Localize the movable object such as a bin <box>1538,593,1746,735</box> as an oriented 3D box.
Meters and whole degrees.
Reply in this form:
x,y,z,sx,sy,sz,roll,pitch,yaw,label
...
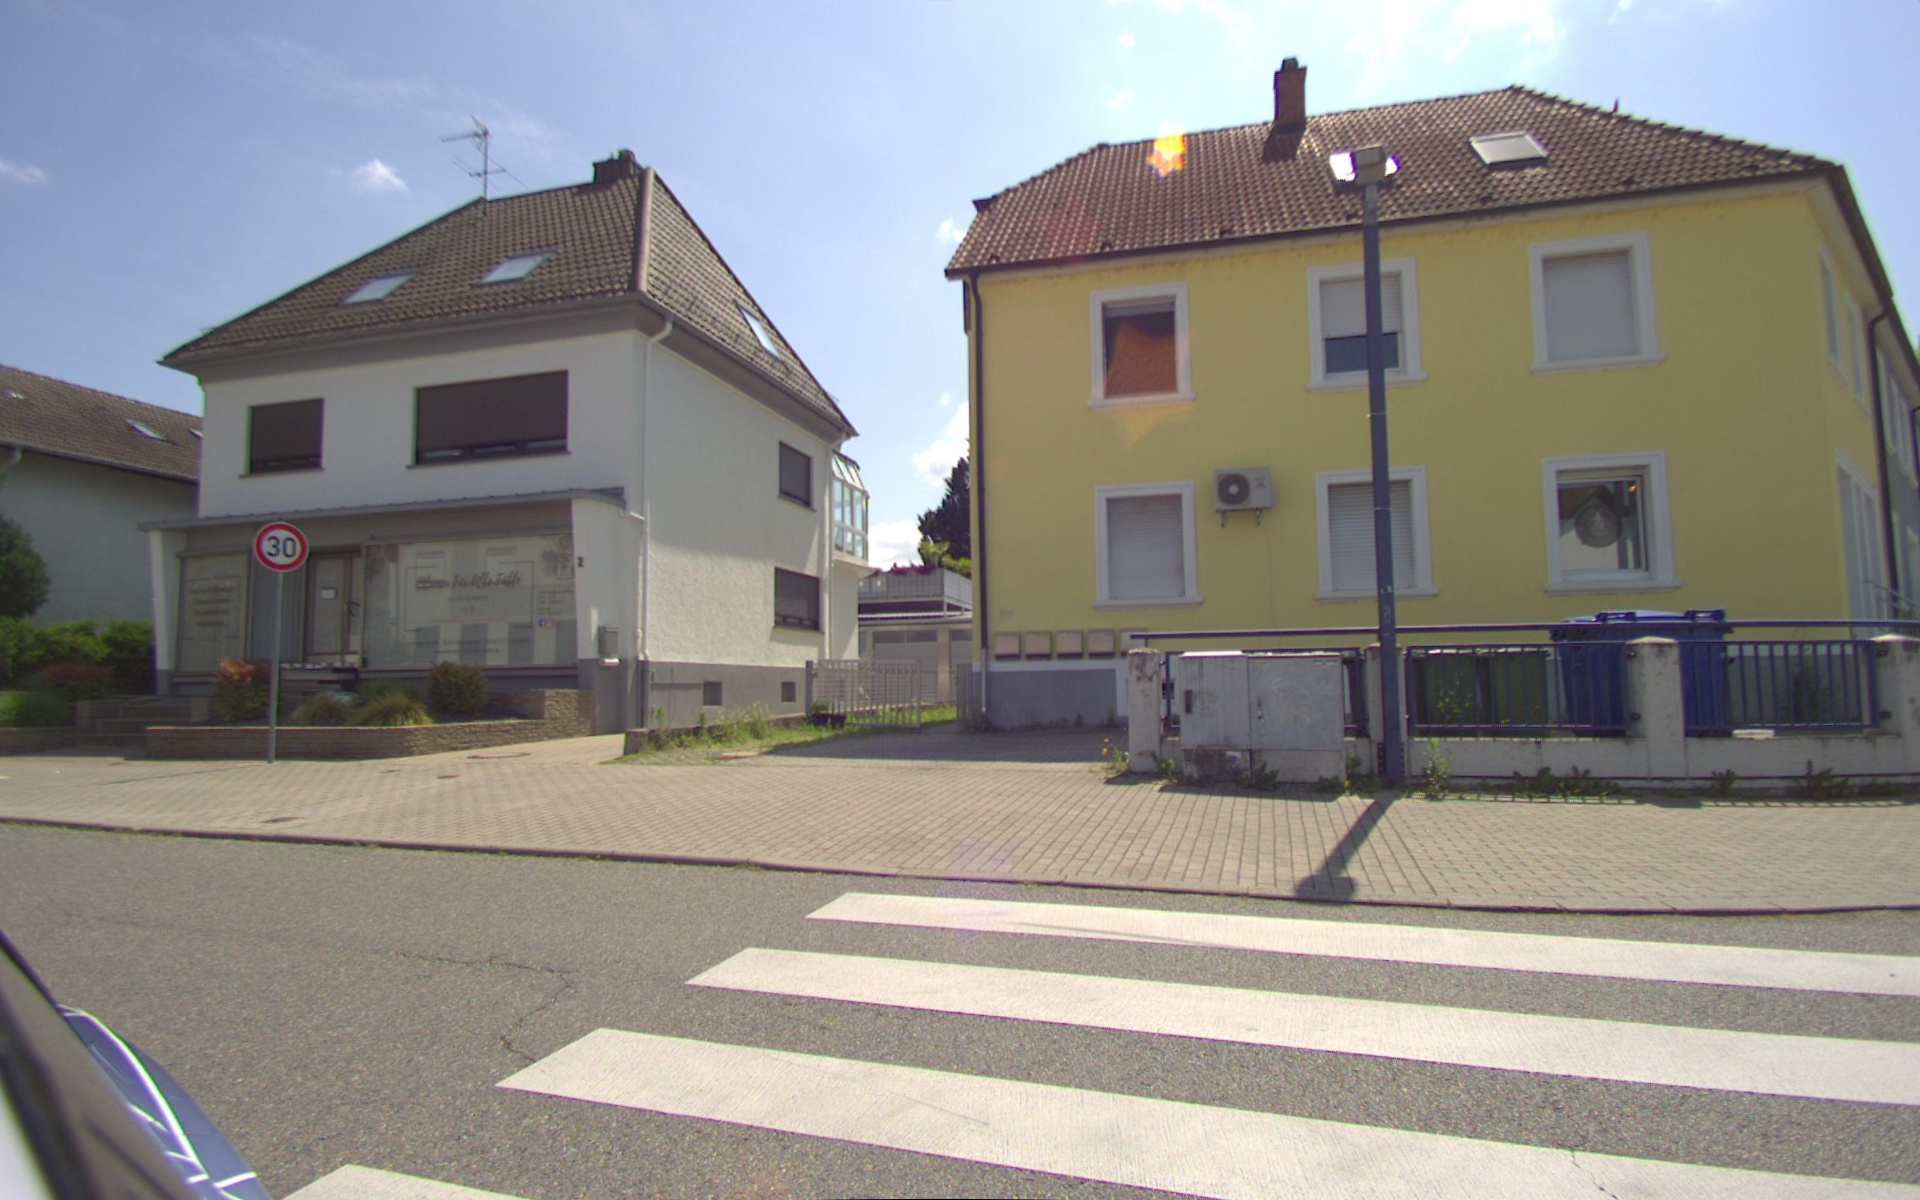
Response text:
x,y,z,sx,sy,sz,roll,pitch,yaw,label
6.214,0.593,9.296,1.260,1.223,0.841,-1,-4,4,movable object such as a bin

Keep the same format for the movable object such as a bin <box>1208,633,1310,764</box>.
x,y,z,sx,sy,sz,roll,pitch,yaw,label
2.995,0.969,10.127,0.895,1.235,0.882,-2,-4,18,movable object such as a bin
